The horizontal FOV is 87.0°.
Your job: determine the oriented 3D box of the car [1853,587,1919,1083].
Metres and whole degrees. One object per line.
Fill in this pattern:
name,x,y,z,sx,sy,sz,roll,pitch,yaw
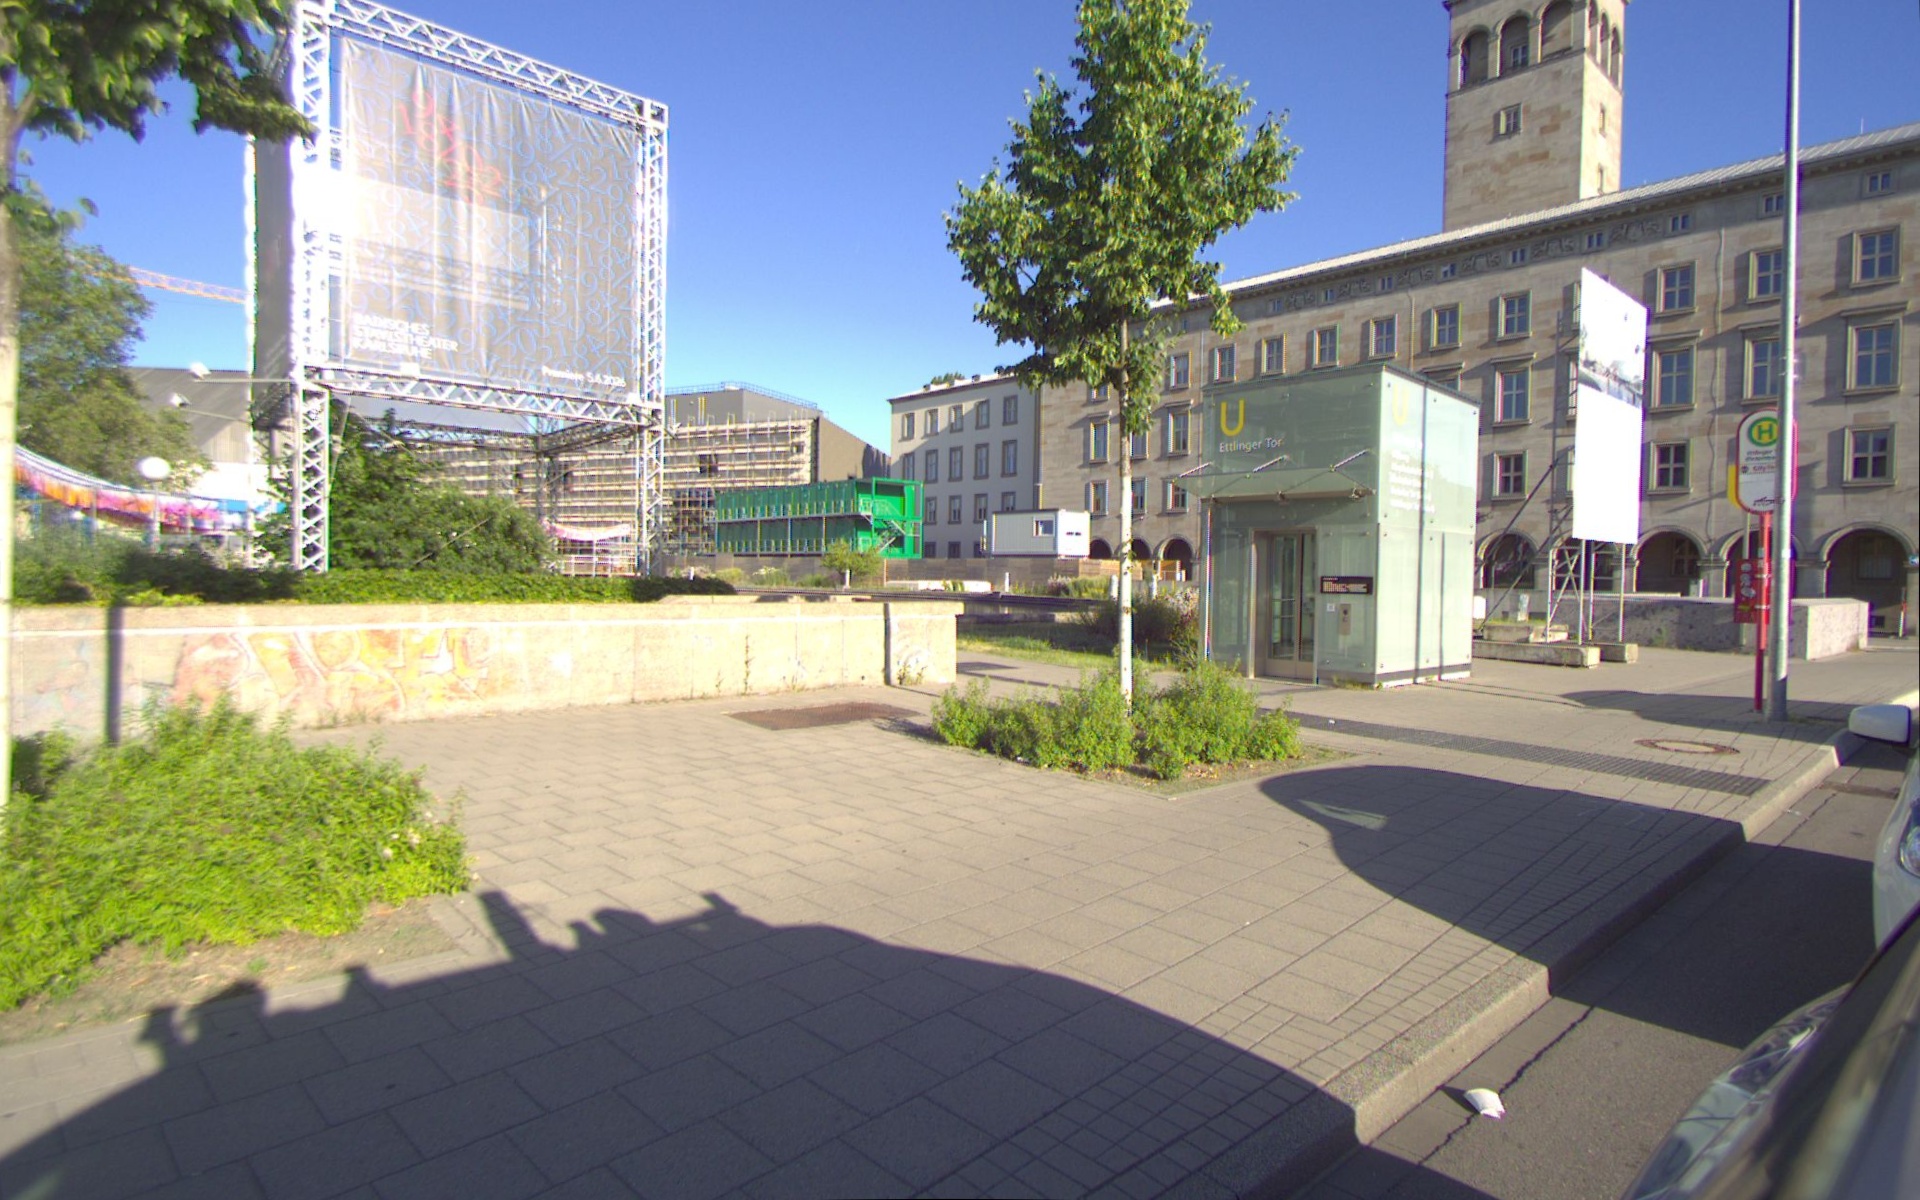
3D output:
car,4.794,0.697,3.796,3.899,1.490,1.658,0,0,-41
